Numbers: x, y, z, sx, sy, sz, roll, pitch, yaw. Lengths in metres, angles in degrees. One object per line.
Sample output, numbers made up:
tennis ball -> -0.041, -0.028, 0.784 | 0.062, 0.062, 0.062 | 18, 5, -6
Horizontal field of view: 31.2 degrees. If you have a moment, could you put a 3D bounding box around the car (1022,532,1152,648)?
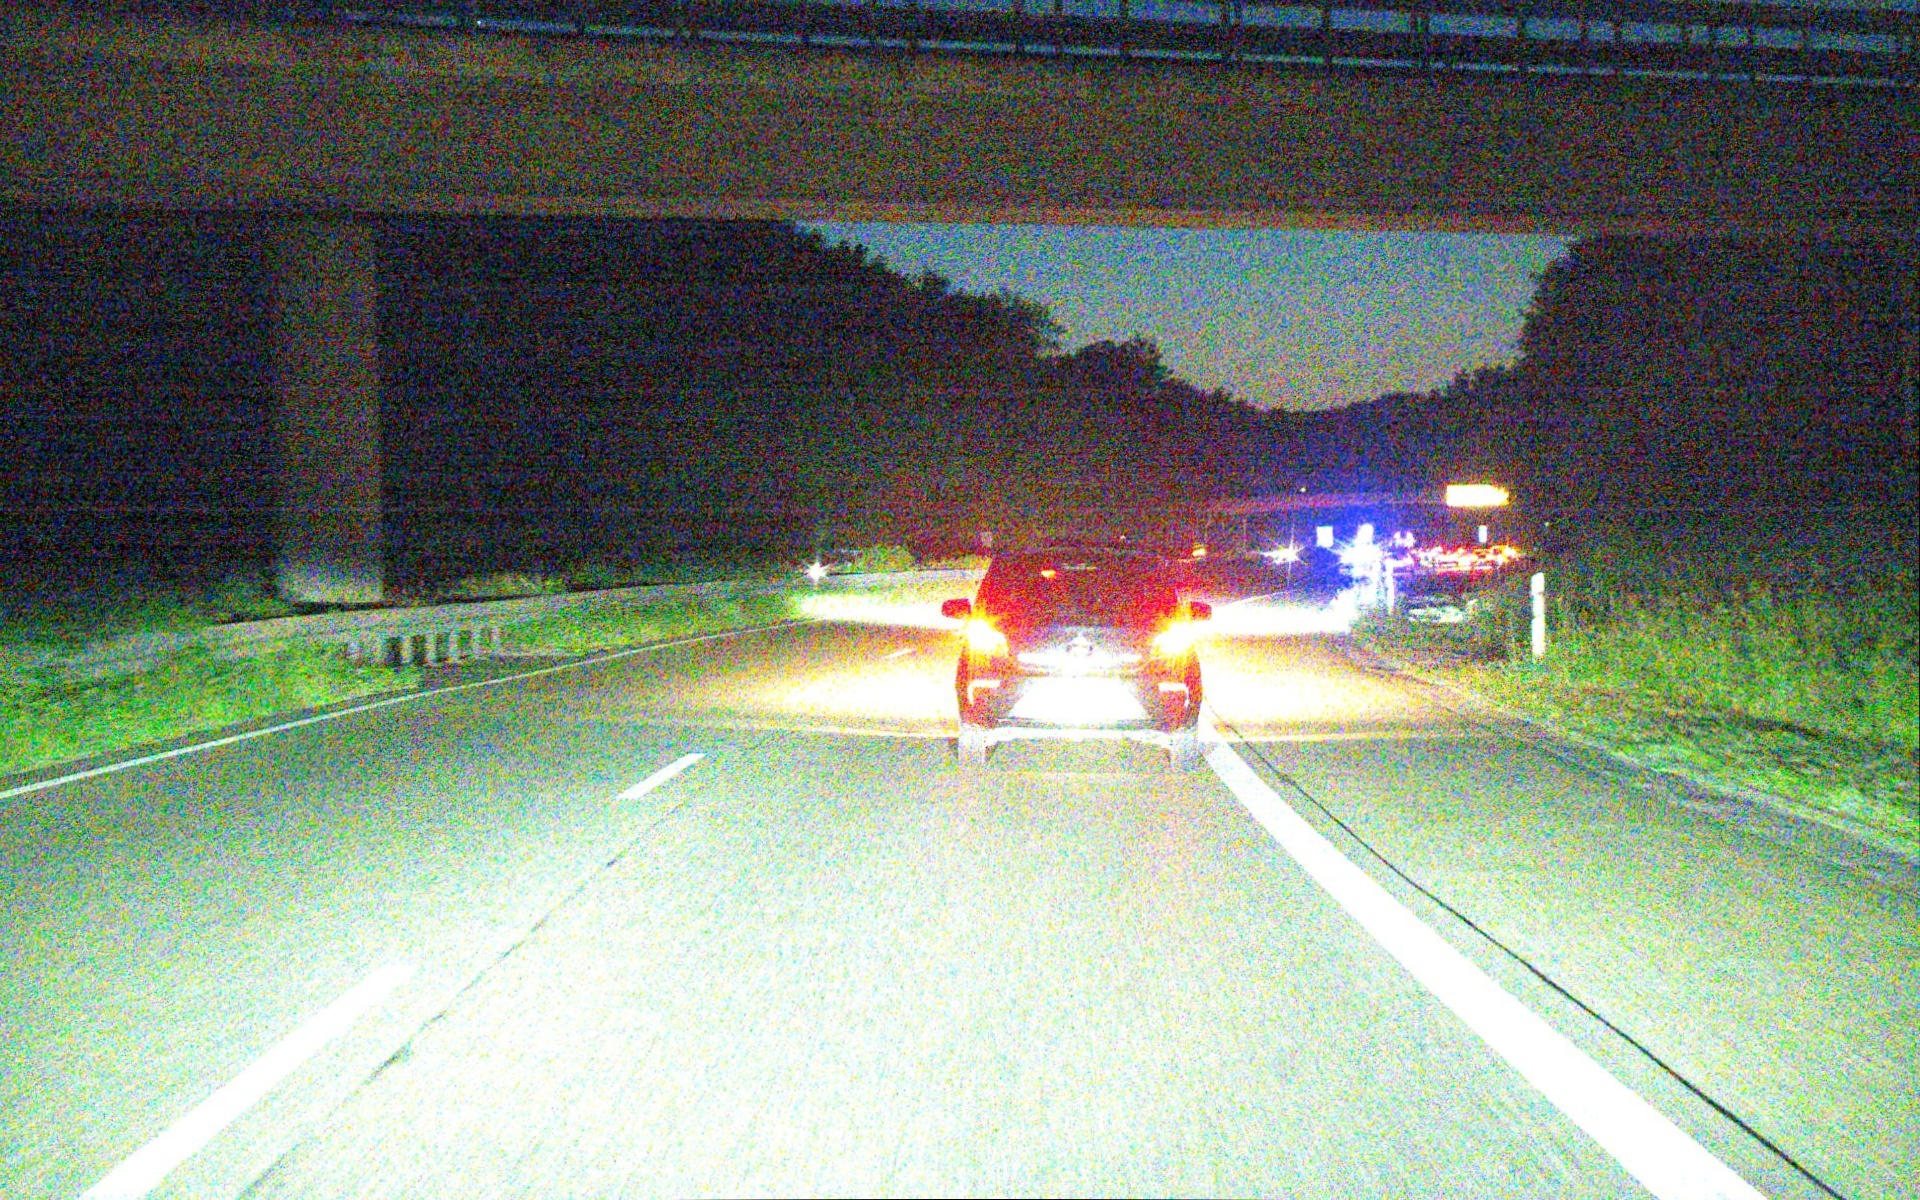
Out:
car -> 1.905, -0.191, 52.643 | 1.906, 1.692, 4.000 | 0, 1, 1

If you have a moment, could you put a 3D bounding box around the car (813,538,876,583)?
car -> -4.314, -1.476, 128.728 | 1.994, 1.651, 4.534 | 0, 0, 2

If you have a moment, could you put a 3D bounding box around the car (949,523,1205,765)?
car -> 0.739, 0.244, 23.895 | 1.588, 1.503, 4.000 | 1, 1, 0
